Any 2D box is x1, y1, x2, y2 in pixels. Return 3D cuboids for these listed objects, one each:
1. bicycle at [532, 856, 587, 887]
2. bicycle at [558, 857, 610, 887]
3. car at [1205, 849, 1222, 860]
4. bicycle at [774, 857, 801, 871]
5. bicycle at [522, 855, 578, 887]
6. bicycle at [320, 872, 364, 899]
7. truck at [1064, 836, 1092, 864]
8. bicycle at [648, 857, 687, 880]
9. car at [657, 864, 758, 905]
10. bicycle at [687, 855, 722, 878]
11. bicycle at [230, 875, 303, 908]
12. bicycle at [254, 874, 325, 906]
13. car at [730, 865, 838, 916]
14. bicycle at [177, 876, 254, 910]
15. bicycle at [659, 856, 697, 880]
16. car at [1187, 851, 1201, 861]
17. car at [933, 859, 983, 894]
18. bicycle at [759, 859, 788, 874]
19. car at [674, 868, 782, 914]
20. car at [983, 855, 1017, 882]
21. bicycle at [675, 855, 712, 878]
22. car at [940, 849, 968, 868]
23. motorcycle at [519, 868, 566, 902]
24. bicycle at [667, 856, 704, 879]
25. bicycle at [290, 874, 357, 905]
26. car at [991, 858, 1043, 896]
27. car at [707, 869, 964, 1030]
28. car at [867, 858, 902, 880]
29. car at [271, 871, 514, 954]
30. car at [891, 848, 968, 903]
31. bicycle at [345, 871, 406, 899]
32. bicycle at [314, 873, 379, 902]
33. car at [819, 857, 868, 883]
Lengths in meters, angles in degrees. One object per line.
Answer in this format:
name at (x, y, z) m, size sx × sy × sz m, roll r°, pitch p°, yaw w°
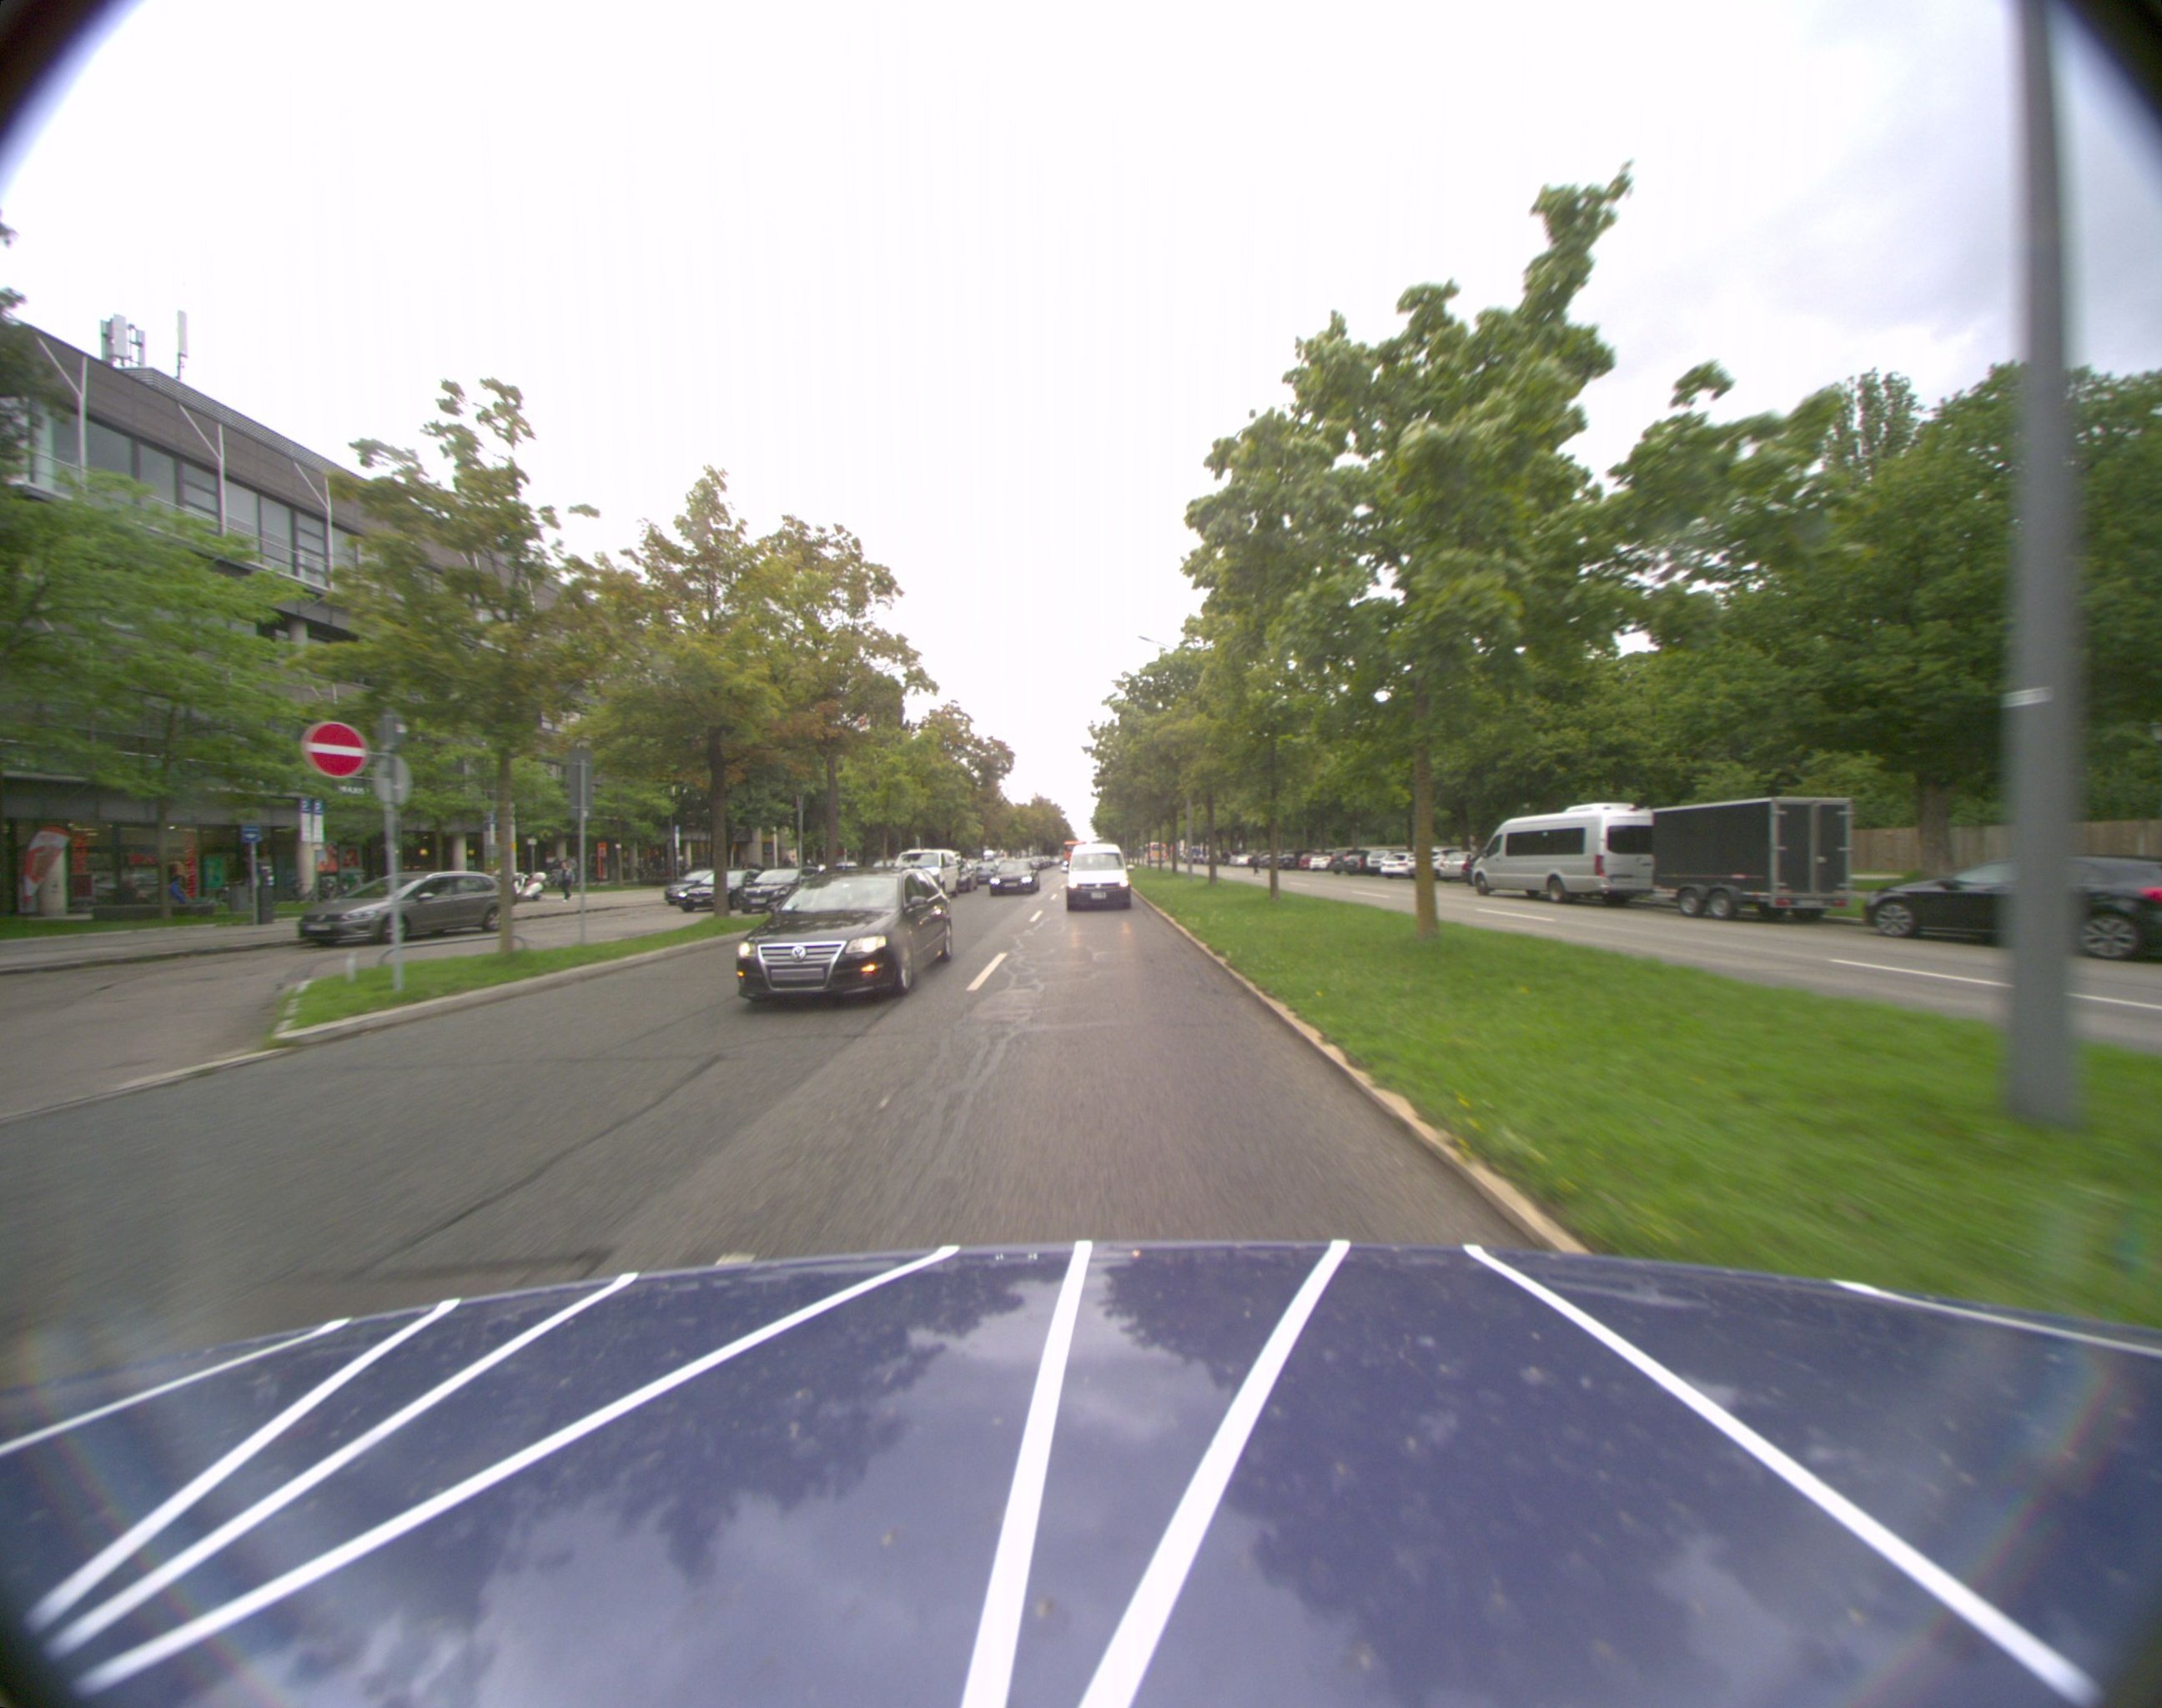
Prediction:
bicycle at (-28.069, 0.922, 40.963) m, size 2.316 × 1.613 × 0.648 m, roll -1°, pitch 1°, yaw -16°
bicycle at (-28.116, 0.991, 43.019) m, size 2.316 × 1.613 × 0.648 m, roll -1°, pitch 1°, yaw -16°
car at (18.023, 0.050, 103.790) m, size 1.889 × 1.435 × 4.169 m, roll -2°, pitch 1°, yaw 5°
bicycle at (-27.867, 0.984, 72.180) m, size 2.313 × 1.294 × 0.649 m, roll -1°, pitch 1°, yaw 2°
bicycle at (-27.956, 0.906, 40.036) m, size 2.316 × 1.613 × 0.648 m, roll -1°, pitch 1°, yaw -16°
bicycle at (-32.481, 1.357, 33.413) m, size 0.455 × 1.114 × 1.554 m, roll -1°, pitch 0°, yaw -3°
truck at (-0.267, -0.513, 92.600) m, size 3.046 × 3.170 × 9.133 m, roll -2°, pitch 0°, yaw 2°
bicycle at (-28.571, 0.987, 52.511) m, size 2.313 × 1.523 × 0.649 m, roll -1°, pitch 1°, yaw 1°
car at (-15.694, 1.243, 32.230) m, size 1.826 × 1.522 × 4.603 m, roll 0°, pitch 0°, yaw 3°
bicycle at (-28.113, 0.917, 56.742) m, size 2.313 × 1.613 × 0.649 m, roll -1°, pitch 1°, yaw 1°
bicycle at (-28.864, 1.318, 26.928) m, size 2.080 × 1.114 × 0.455 m, roll -1°, pitch 1°, yaw 1°
bicycle at (-28.894, 1.317, 27.750) m, size 2.080 × 1.114 × 0.455 m, roll -1°, pitch 1°, yaw 1°
car at (-10.048, 1.162, 26.133) m, size 1.732 × 1.424 × 4.691 m, roll -3°, pitch 0°, yaw 1°
bicycle at (-29.527, 1.323, 25.936) m, size 2.080 × 1.114 × 0.455 m, roll -1°, pitch 1°, yaw 1°
bicycle at (-28.453, 0.971, 53.689) m, size 2.313 × 1.613 × 0.649 m, roll -1°, pitch 1°, yaw 1°
car at (18.484, 0.320, 124.352) m, size 1.889 × 1.435 × 4.169 m, roll -2°, pitch 1°, yaw 5°
car at (-5.809, 1.028, 36.318) m, size 1.701 × 1.440 × 4.041 m, roll -3°, pitch 0°, yaw -1°
bicycle at (-28.004, 1.146, 69.165) m, size 2.313 × 1.341 × 0.649 m, roll -1°, pitch 1°, yaw 2°
car at (-12.790, 1.276, 27.860) m, size 1.726 × 1.371 × 4.352 m, roll -2°, pitch 0°, yaw 3°
car at (-5.478, 0.960, 51.864) m, size 1.686 × 1.632 × 4.465 m, roll -4°, pitch 0°, yaw 1°
bicycle at (-28.316, 0.930, 55.494) m, size 2.313 × 1.613 × 0.649 m, roll -1°, pitch 1°, yaw 1°
car at (-15.153, 0.506, 90.996) m, size 2.268 × 2.091 × 5.858 m, roll -1°, pitch 0°, yaw 1°
motorcycle at (-21.417, 1.224, 30.270) m, size 0.473 × 1.223 × 1.948 m, roll 2°, pitch 1°, yaw 0°
bicycle at (-28.412, 0.976, 54.591) m, size 2.313 × 1.613 × 0.649 m, roll -1°, pitch 1°, yaw 1°
bicycle at (-28.682, 1.341, 28.782) m, size 2.080 × 1.114 × 0.455 m, roll -1°, pitch 1°, yaw 1°
car at (-2.670, 0.912, 32.497) m, size 1.763 × 1.405 × 4.462 m, roll -3°, pitch 0°, yaw 0°
car at (-2.787, 0.997, 9.792) m, size 1.735 × 1.424 × 4.442 m, roll -3°, pitch 0°, yaw 1°
car at (-15.817, 1.182, 61.440) m, size 1.865 × 1.624 × 4.340 m, roll 0°, pitch 0°, yaw -3°
car at (-16.127, 1.289, 18.163) m, size 1.826 × 1.624 × 4.198 m, roll 0°, pitch 0°, yaw 3°
car at (-5.786, 0.761, 29.659) m, size 1.886 × 1.916 × 4.933 m, roll -3°, pitch 0°, yaw 1°
bicycle at (-28.931, 1.273, 31.167) m, size 2.080 × 1.114 × 0.455 m, roll -1°, pitch 1°, yaw 1°
bicycle at (-28.892, 1.312, 29.902) m, size 2.080 × 1.114 × 0.455 m, roll -1°, pitch 1°, yaw 1°
car at (-15.825, 1.036, 50.856) m, size 1.826 × 1.624 × 4.500 m, roll 0°, pitch 0°, yaw 0°
